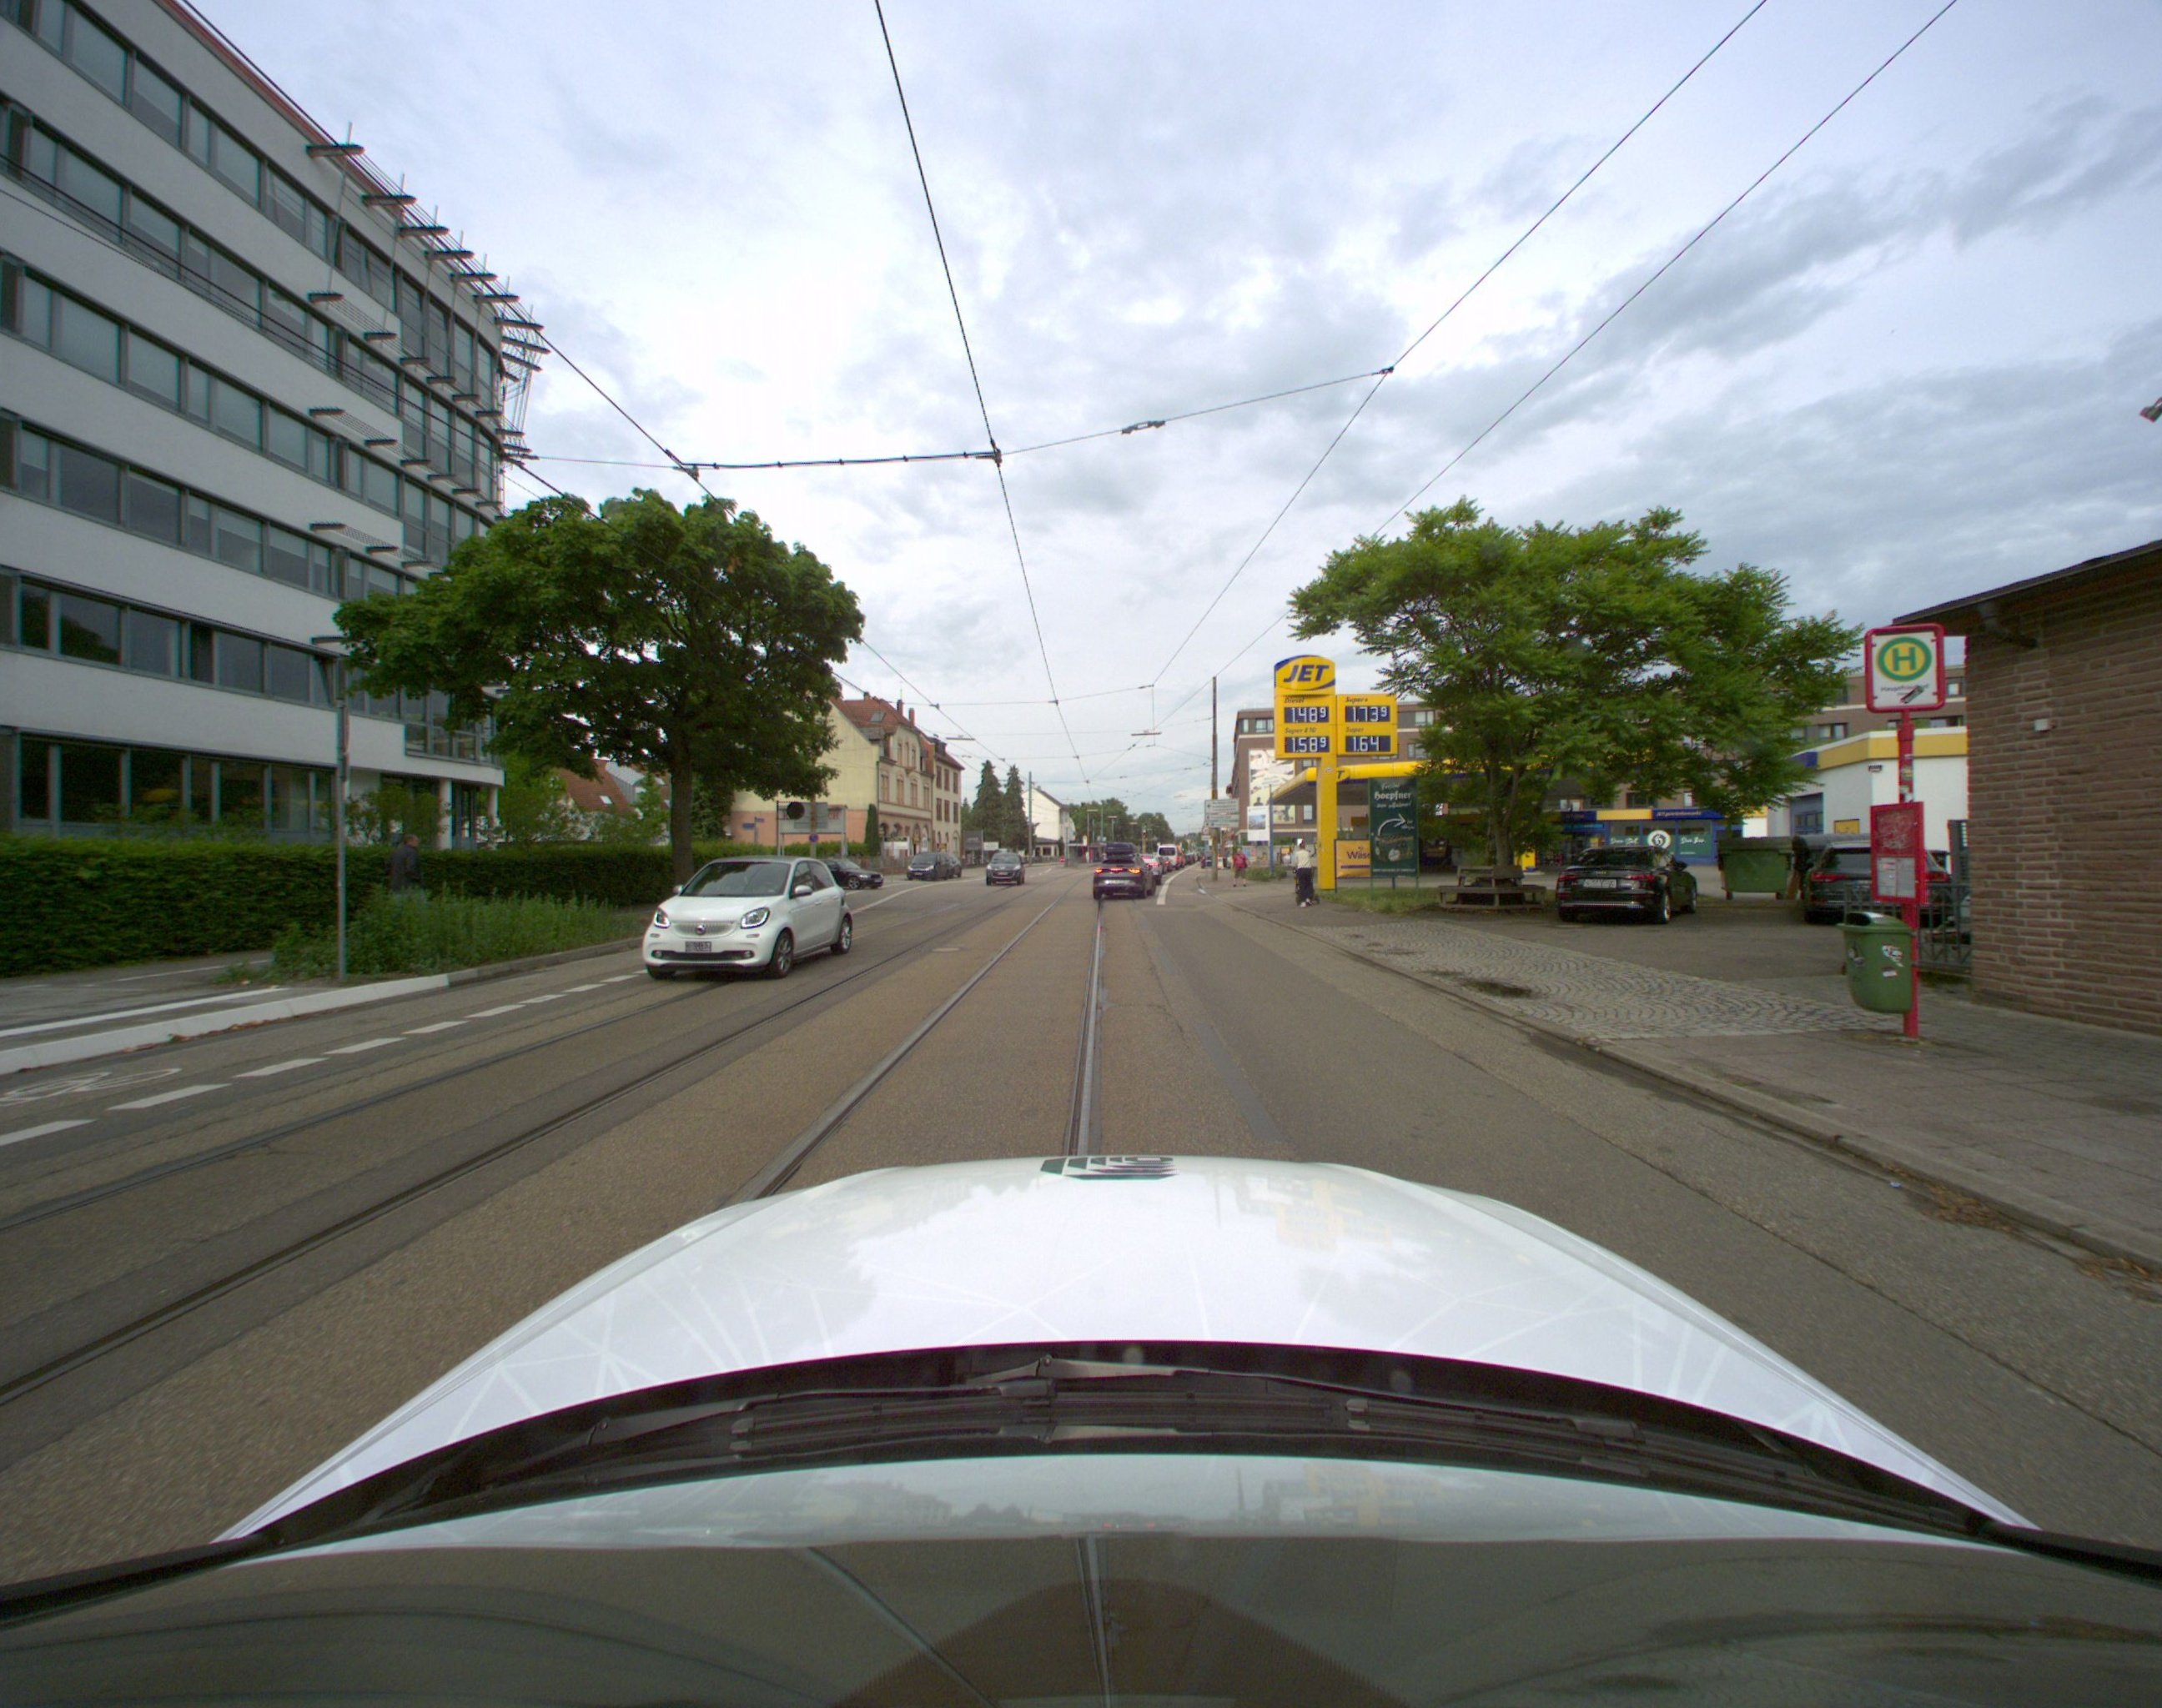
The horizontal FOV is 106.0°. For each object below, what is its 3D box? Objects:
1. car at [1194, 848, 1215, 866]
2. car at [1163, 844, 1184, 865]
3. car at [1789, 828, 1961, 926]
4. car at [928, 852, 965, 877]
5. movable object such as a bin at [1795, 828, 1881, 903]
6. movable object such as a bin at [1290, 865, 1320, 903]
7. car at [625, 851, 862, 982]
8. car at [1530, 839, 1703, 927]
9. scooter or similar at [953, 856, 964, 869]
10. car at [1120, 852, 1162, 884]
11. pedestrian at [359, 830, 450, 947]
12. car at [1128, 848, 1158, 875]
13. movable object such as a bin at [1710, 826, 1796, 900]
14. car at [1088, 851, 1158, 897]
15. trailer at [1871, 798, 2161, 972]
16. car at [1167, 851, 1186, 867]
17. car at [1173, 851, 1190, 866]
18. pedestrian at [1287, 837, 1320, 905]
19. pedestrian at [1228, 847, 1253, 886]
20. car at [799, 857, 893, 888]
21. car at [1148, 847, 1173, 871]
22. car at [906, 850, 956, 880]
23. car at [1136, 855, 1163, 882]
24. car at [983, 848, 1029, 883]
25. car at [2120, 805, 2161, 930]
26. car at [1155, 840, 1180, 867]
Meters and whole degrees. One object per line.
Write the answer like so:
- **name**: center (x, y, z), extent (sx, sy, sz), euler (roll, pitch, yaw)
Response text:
- **car**: center (12.900, 0.329, 85.224), extent (1.865, 1.823, 4.101), euler (1, -1, 5)
- **car**: center (9.759, 0.074, 86.435), extent (2.129, 2.146, 4.750), euler (1, -1, 5)
- **car**: center (13.955, 0.342, 14.407), extent (1.854, 1.427, 4.569), euler (-4, -1, 44)
- **car**: center (-9.998, 0.774, 60.843), extent (1.836, 1.718, 4.197), euler (1, -1, 4)
- **movable object such as a bin**: center (15.900, 0.204, 17.149), extent (1.278, 1.490, 1.131), euler (2, 3, 42)
- **movable object such as a bin**: center (6.403, 0.846, 23.303), extent (0.762, 1.039, 1.028), euler (-3, -1, 16)
- **car**: center (-4.449, 0.743, 11.384), extent (1.698, 1.530, 3.742), euler (0, -1, 1)
- **car**: center (10.626, 0.476, 16.003), extent (4.611, 1.407, 1.911), euler (-2, 1, -45)
- **scooter or similar**: center (-12.149, 0.838, 80.726), extent (1.055, 1.188, 0.315), euler (1, -1, -30)
- **car**: center (3.048, 0.683, 41.860), extent (1.974, 1.550, 4.185), euler (1, 0, 2)
- **pedestrian**: center (-12.083, 0.601, 14.575), extent (0.706, 2.014, 0.993), euler (1, -1, 8)
- **car**: center (4.255, 0.504, 55.909), extent (1.960, 1.756, 3.841), euler (1, -1, 3)
- **movable object such as a bin**: center (14.923, 0.171, 18.090), extent (1.404, 1.514, 1.131), euler (0, 4, 43)
- **car**: center (1.596, 0.696, 29.180), extent (1.978, 1.497, 4.337), euler (1, -1, 10)
- **trailer**: center (10.165, 0.270, 8.017), extent (3.149, 1.539, 1.622), euler (-1, -1, 2)
- **car**: center (12.075, 0.648, 103.070), extent (1.986, 2.014, 4.001), euler (1, -1, 2)
- **car**: center (14.150, 0.617, 115.065), extent (1.986, 2.014, 4.001), euler (1, -1, 2)
- **pedestrian**: center (6.191, 0.461, 22.630), extent (0.762, 1.797, 1.167), euler (-3, -1, 16)
- **pedestrian**: center (7.363, 0.569, 37.702), extent (0.967, 1.738, 0.862), euler (-3, -1, 5)
- **car**: center (-10.882, 0.837, 37.742), extent (3.885, 1.388, 1.812), euler (0, 0, 22)
- **car**: center (6.767, 0.443, 69.413), extent (1.984, 2.014, 4.006), euler (1, -1, 5)
- **car**: center (-9.915, 0.745, 54.371), extent (1.982, 1.887, 5.004), euler (1, -1, 5)
- **car**: center (5.260, 1.096, 63.077), extent (1.985, 2.014, 4.004), euler (1, -1, 4)
- **car**: center (-3.854, 0.591, 42.509), extent (1.820, 1.737, 4.337), euler (-1, -1, 2)
- **car**: center (16.422, 0.161, 10.004), extent (4.400, 1.646, 1.994), euler (0, -1, 7)
- **car**: center (8.145, -0.018, 77.277), extent (2.206, 2.423, 4.957), euler (1, -1, 4)
